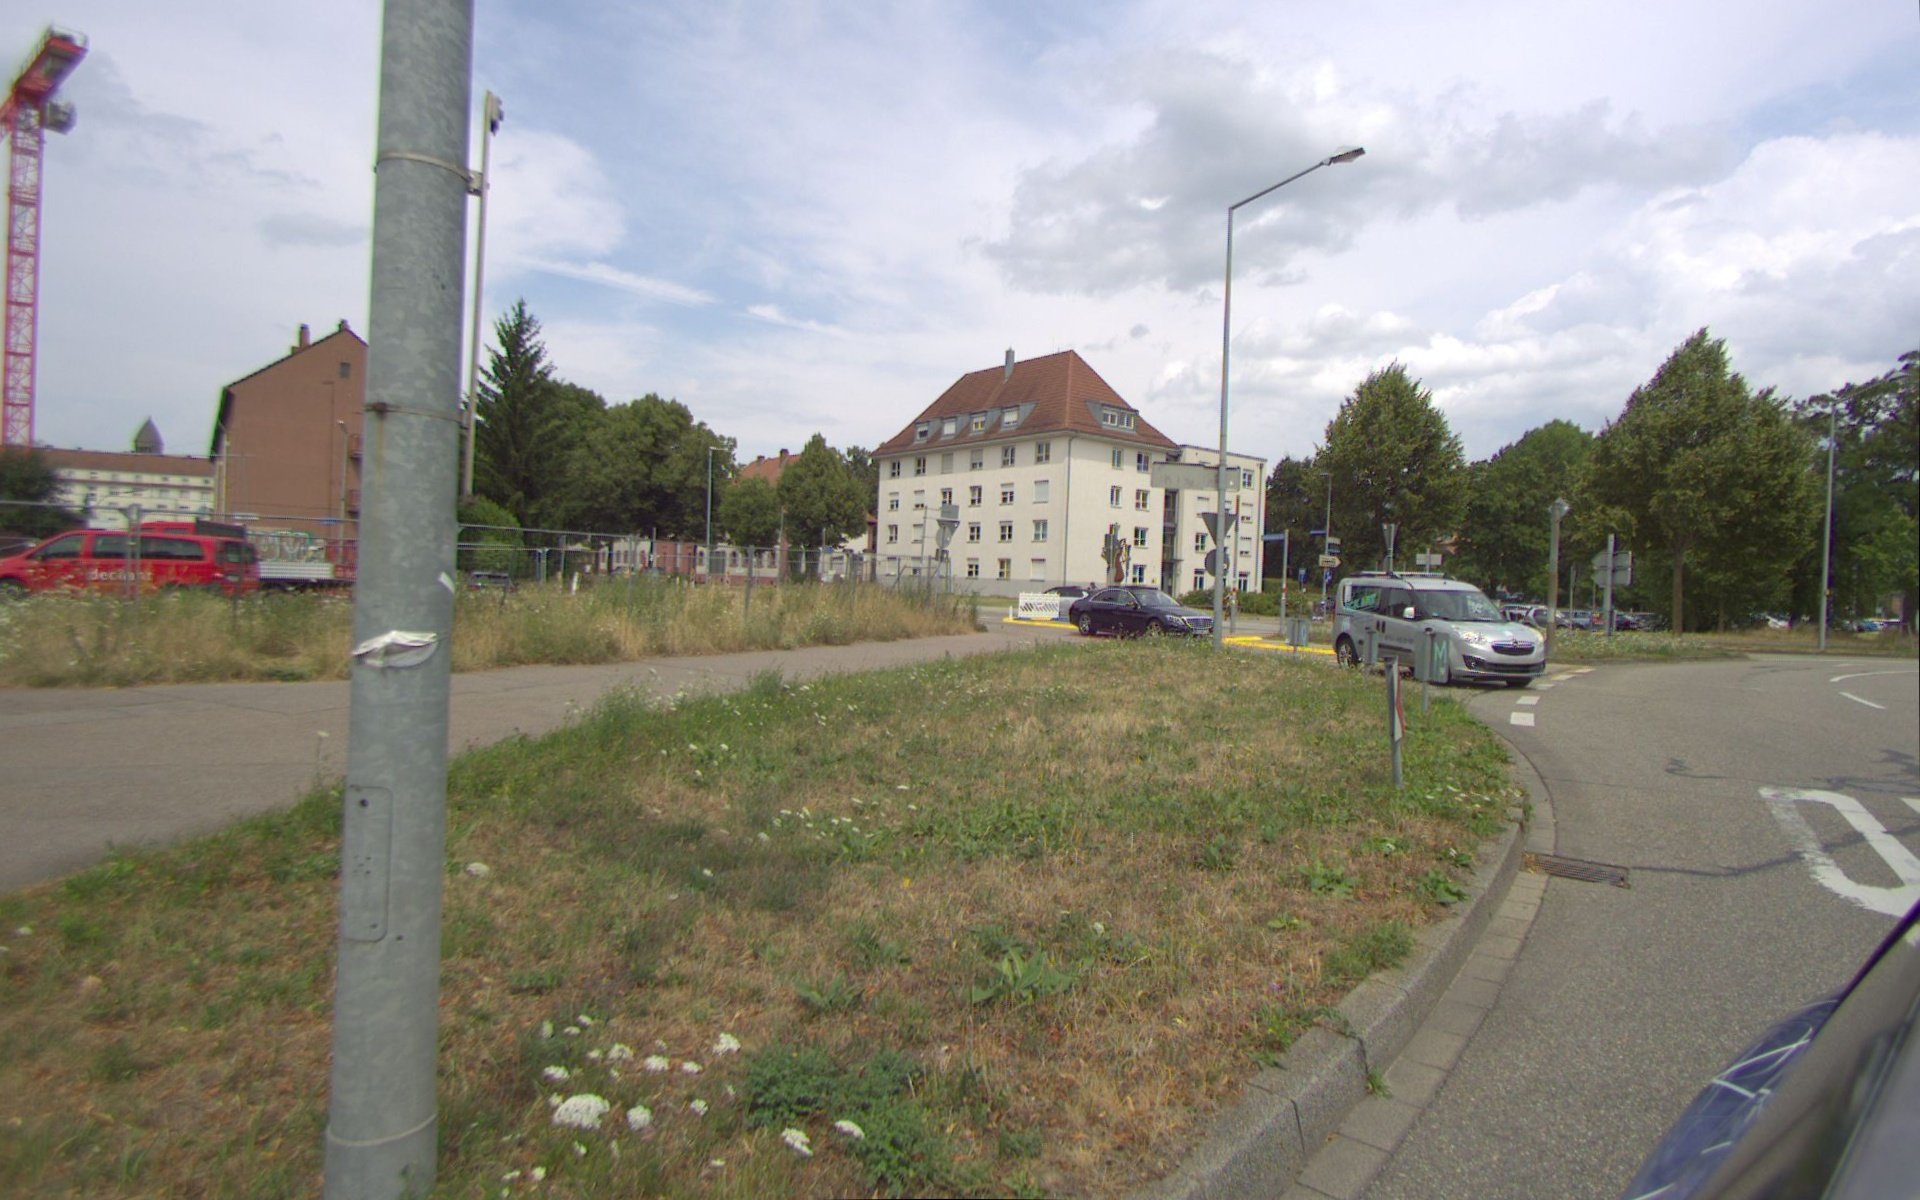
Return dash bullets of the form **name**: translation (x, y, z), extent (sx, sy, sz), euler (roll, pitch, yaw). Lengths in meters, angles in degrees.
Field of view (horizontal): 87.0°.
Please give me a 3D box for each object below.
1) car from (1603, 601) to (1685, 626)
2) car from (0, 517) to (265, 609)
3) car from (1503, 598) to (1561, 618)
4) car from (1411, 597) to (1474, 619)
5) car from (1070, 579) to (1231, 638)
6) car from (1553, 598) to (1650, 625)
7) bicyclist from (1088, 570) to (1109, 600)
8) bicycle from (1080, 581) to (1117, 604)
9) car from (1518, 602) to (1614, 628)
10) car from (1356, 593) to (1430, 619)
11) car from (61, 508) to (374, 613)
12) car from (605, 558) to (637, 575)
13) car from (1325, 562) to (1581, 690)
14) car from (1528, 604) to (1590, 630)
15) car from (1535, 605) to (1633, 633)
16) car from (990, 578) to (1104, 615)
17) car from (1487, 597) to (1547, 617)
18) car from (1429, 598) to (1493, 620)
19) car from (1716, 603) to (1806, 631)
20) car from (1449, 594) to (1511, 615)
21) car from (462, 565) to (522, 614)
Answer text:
- **car**: translation (48.003, 0.952, 71.103), extent (1.799, 1.489, 4.386), euler (1, 2, -37)
- **car**: translation (-19.714, -0.823, 24.056), extent (4.886, 1.935, 1.939), euler (2, -1, -7)
- **car**: translation (49.544, 0.671, 87.752), extent (1.784, 1.594, 4.004), euler (2, 1, -39)
- **car**: translation (36.655, 0.621, 76.886), extent (1.586, 1.486, 4.005), euler (1, 2, -39)
- **car**: translation (5.324, 0.188, 28.976), extent (1.782, 1.523, 4.876), euler (1, 1, -30)
- **car**: translation (40.933, 0.713, 64.634), extent (1.799, 1.489, 4.887), euler (1, 2, -37)
- **bicyclist**: translation (6.843, -0.730, 50.028), extent (0.787, 1.441, 0.603), euler (2, 0, -31)
- **bicycle**: translation (6.841, -0.354, 50.040), extent (1.792, 1.059, 0.603), euler (2, 1, -31)
- **car**: translation (36.845, 0.910, 61.627), extent (1.801, 1.490, 4.700), euler (1, 0, -40)
- **car**: translation (30.718, 0.412, 71.845), extent (1.963, 1.617, 4.407), euler (1, 2, -37)
- **car**: translation (-19.573, -1.017, 26.984), extent (6.410, 2.442, 2.322), euler (2, 1, -6)
- **car**: translation (-32.147, -3.170, 95.936), extent (1.598, 1.538, 4.218), euler (2, 1, -36)
- **car**: translation (8.643, 0.349, 18.292), extent (1.774, 1.971, 4.593), euler (2, 1, -9)
- **car**: translation (35.273, 0.994, 59.635), extent (1.459, 1.441, 2.909), euler (2, -1, -44)
- **car**: translation (38.902, 1.160, 63.228), extent (1.799, 1.489, 4.887), euler (1, 2, -37)
- **car**: translation (3.913, -0.179, 46.440), extent (1.967, 1.500, 5.172), euler (1, 2, -44)
- **car**: translation (46.374, 0.598, 84.319), extent (1.785, 1.486, 4.005), euler (1, 2, -39)
- **car**: translation (38.513, 0.665, 77.911), extent (1.785, 1.486, 4.004), euler (1, 1, -39)
- **car**: translation (67.825, 1.406, 85.753), extent (2.160, 2.081, 5.568), euler (1, 2, -37)
- **car**: translation (41.343, 0.334, 80.486), extent (1.785, 1.486, 4.005), euler (1, 2, -39)
- **car**: translation (-15.991, -0.399, 34.619), extent (1.730, 1.491, 4.268), euler (1, 2, -25)
